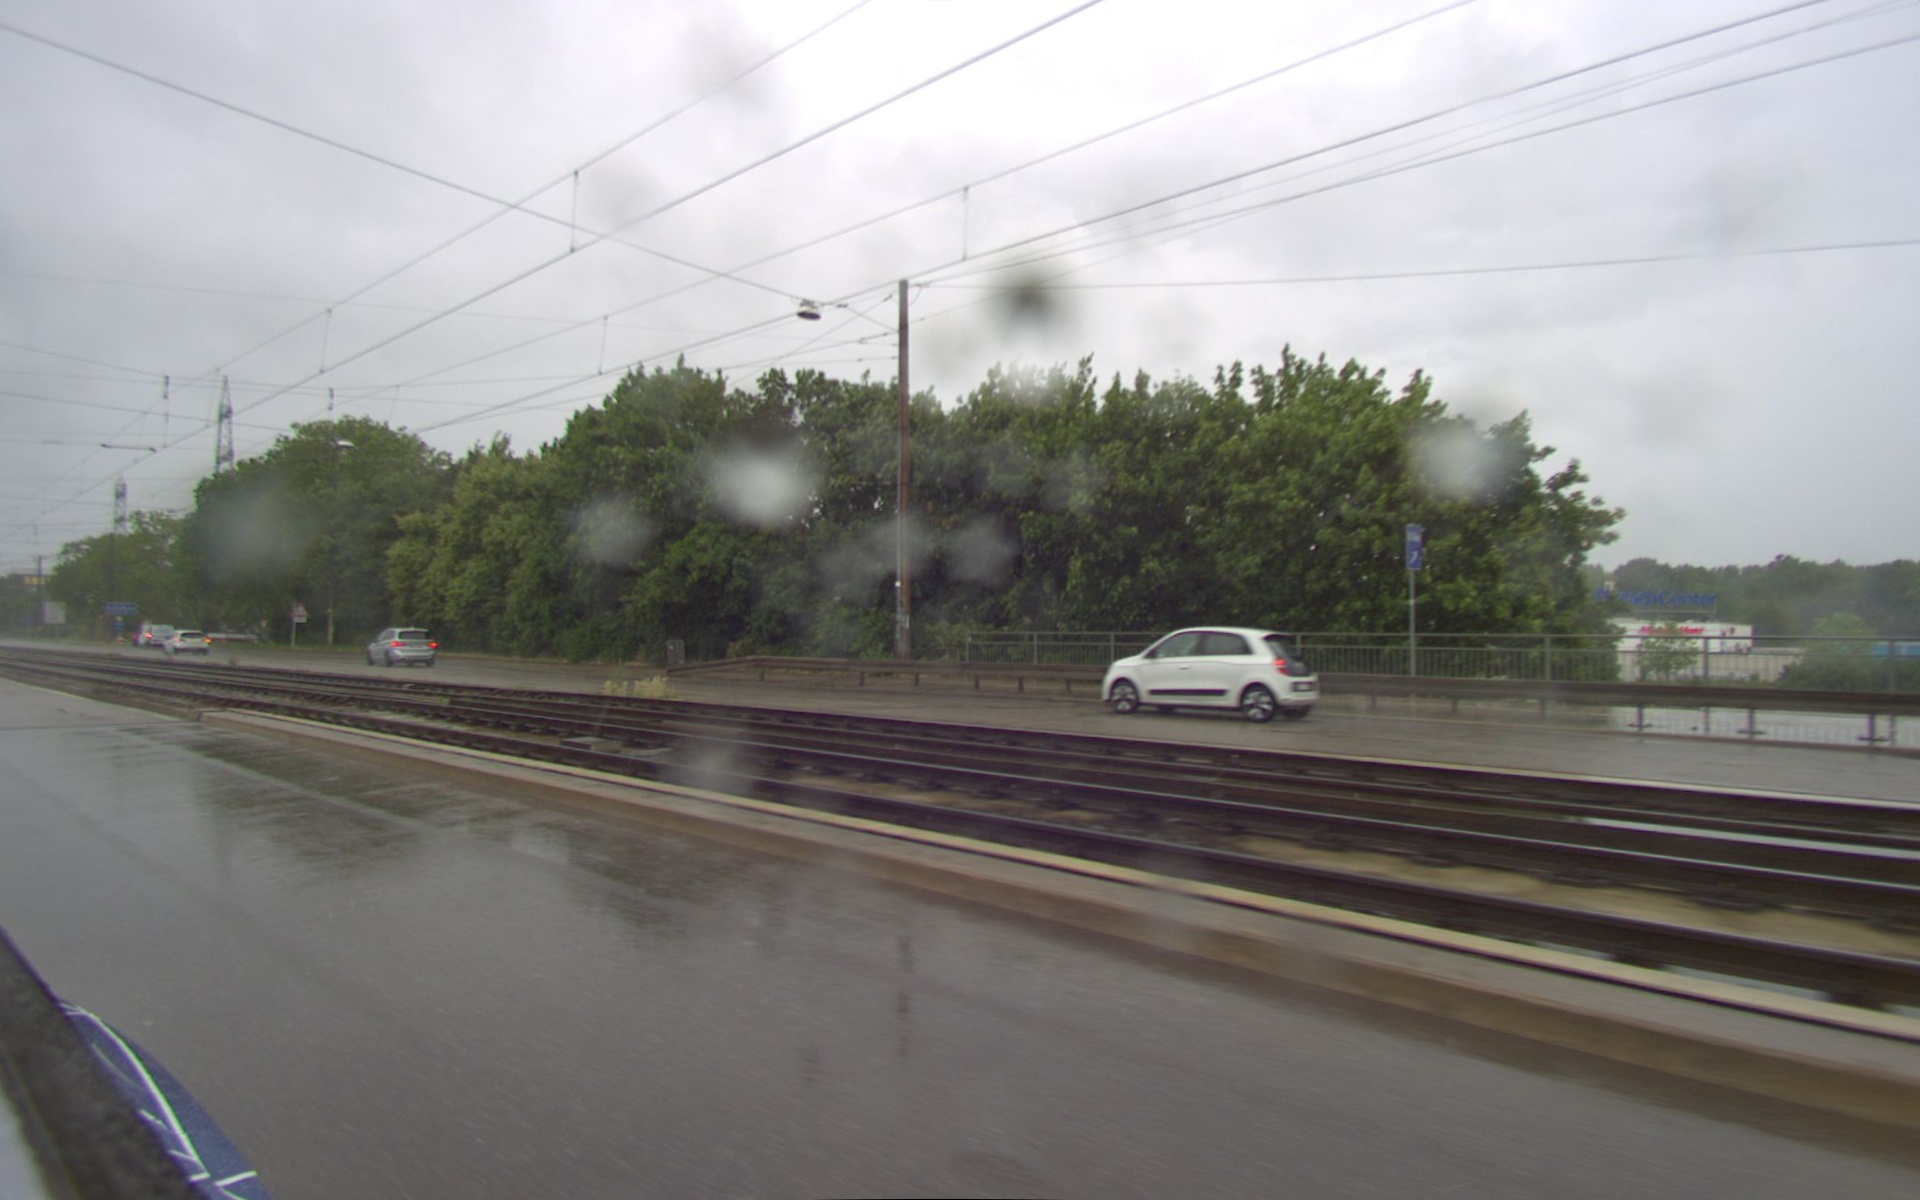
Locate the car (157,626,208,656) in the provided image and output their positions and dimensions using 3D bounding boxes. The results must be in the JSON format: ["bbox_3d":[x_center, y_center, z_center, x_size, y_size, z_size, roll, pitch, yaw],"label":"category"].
[{"bbox_3d":[-47.583,2.496,61.953,3.669,1.642,1.754,-1,2,41],"label":"car"}]

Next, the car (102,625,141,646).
[{"bbox_3d":[-76.926,3.238,92.846,4.146,1.710,2.162,-1,2,43],"label":"car"}]

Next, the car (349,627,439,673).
[{"bbox_3d":[-23.822,2.052,42.551,4.659,1.724,1.814,-1,2,41],"label":"car"}]

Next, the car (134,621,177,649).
[{"bbox_3d":[-67.422,2.893,84.778,4.146,2.119,2.162,-1,2,43],"label":"car"}]

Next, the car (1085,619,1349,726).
[{"bbox_3d":[4.375,1.153,17.539,3.998,1.630,1.973,-1,-2,41],"label":"car"}]
